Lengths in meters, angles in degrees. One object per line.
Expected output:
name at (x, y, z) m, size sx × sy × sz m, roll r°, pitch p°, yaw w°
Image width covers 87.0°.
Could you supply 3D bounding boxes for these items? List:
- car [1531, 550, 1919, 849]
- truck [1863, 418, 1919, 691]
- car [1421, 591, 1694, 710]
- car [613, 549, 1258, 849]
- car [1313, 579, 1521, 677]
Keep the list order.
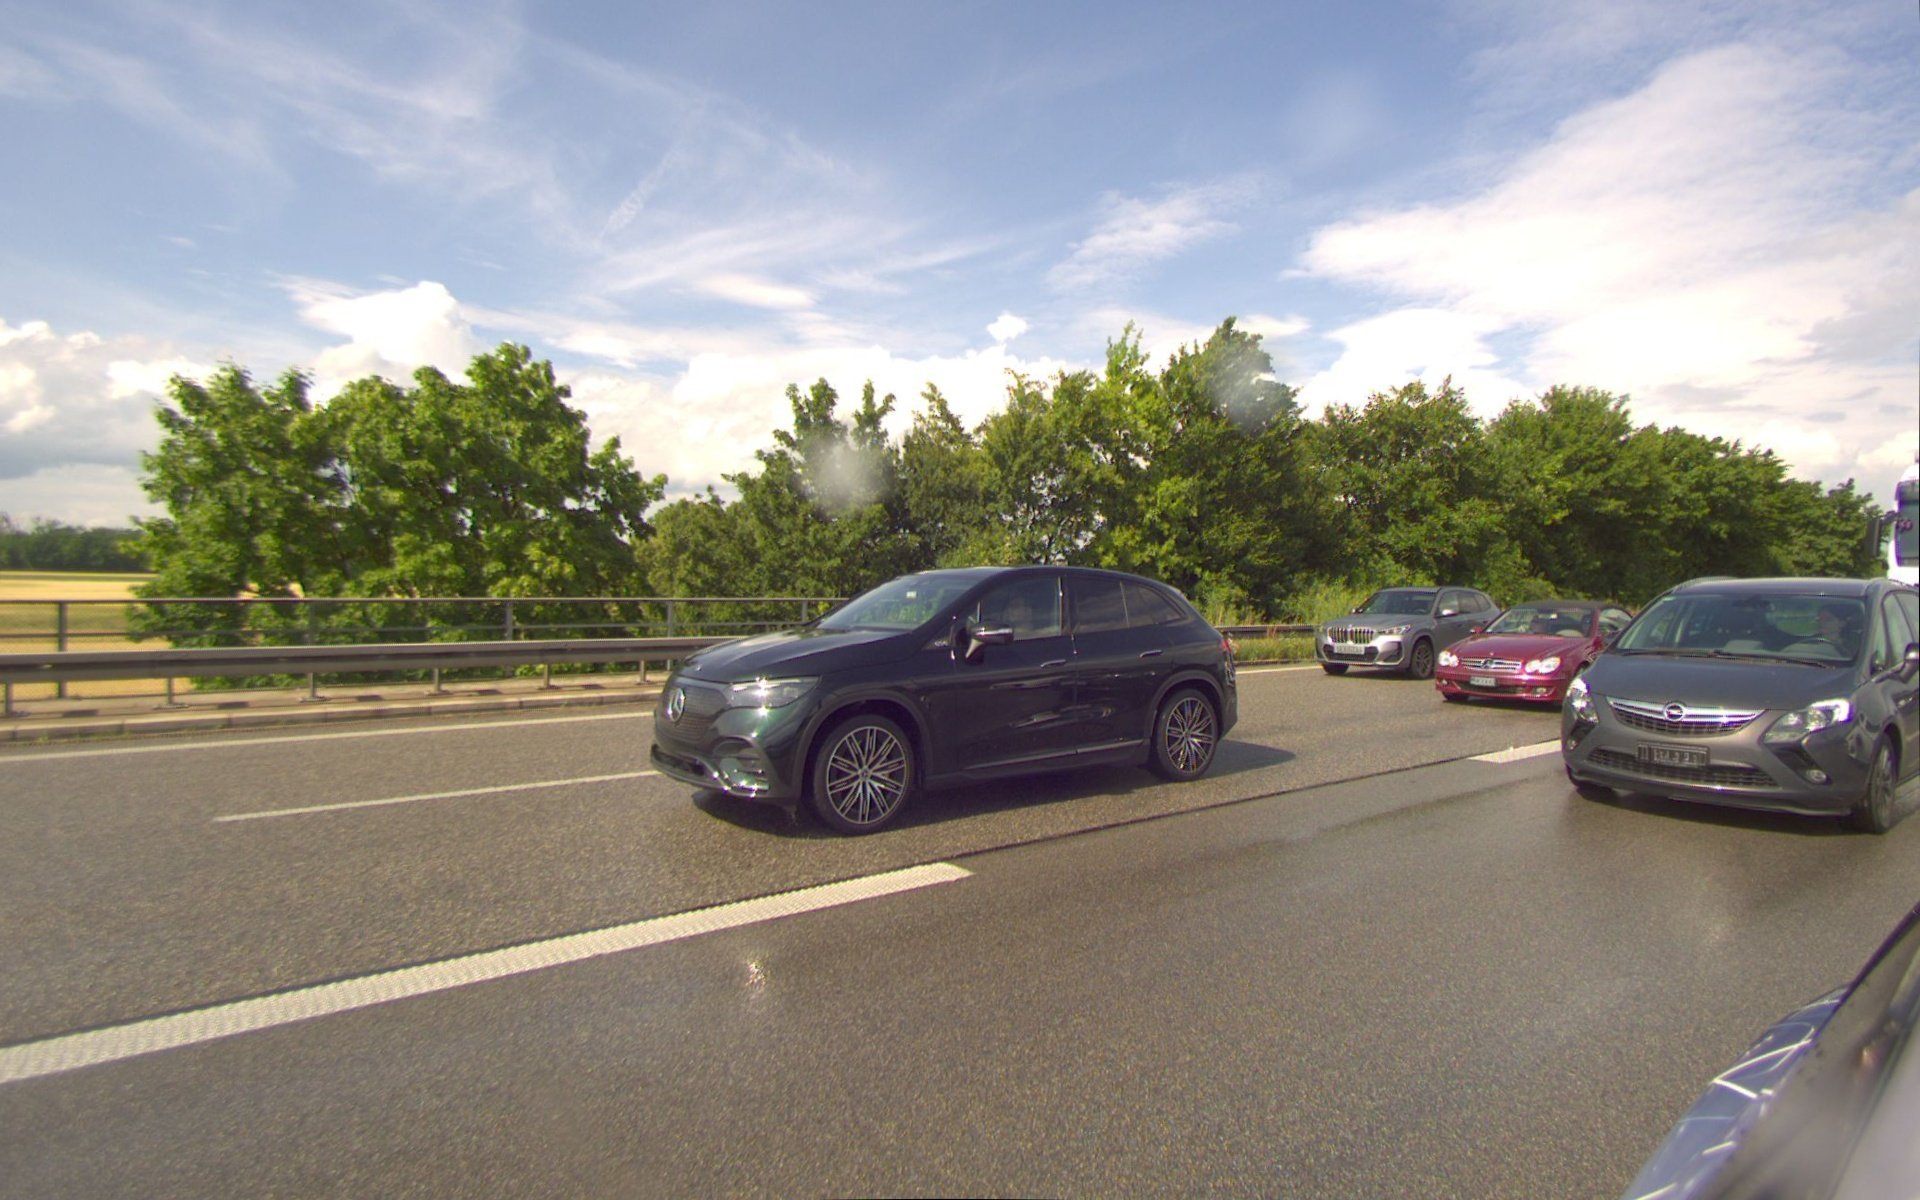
car at (6.313, 0.534, 7.728) m, size 4.316 × 1.668 × 1.884 m, roll 0°, pitch 1°, yaw -38°
truck at (18.037, -0.723, 16.997) m, size 7.306 × 4.158 × 2.819 m, roll 0°, pitch 0°, yaw -36°
car at (8.482, 0.594, 14.224) m, size 4.427 × 1.428 × 1.757 m, roll 0°, pitch 0°, yaw -37°
car at (0.011, 0.504, 7.599) m, size 4.568 × 1.601 × 1.999 m, roll 0°, pitch 1°, yaw -38°
car at (8.449, 0.433, 18.581) m, size 4.208 × 1.606 × 1.753 m, roll -1°, pitch 0°, yaw -38°
